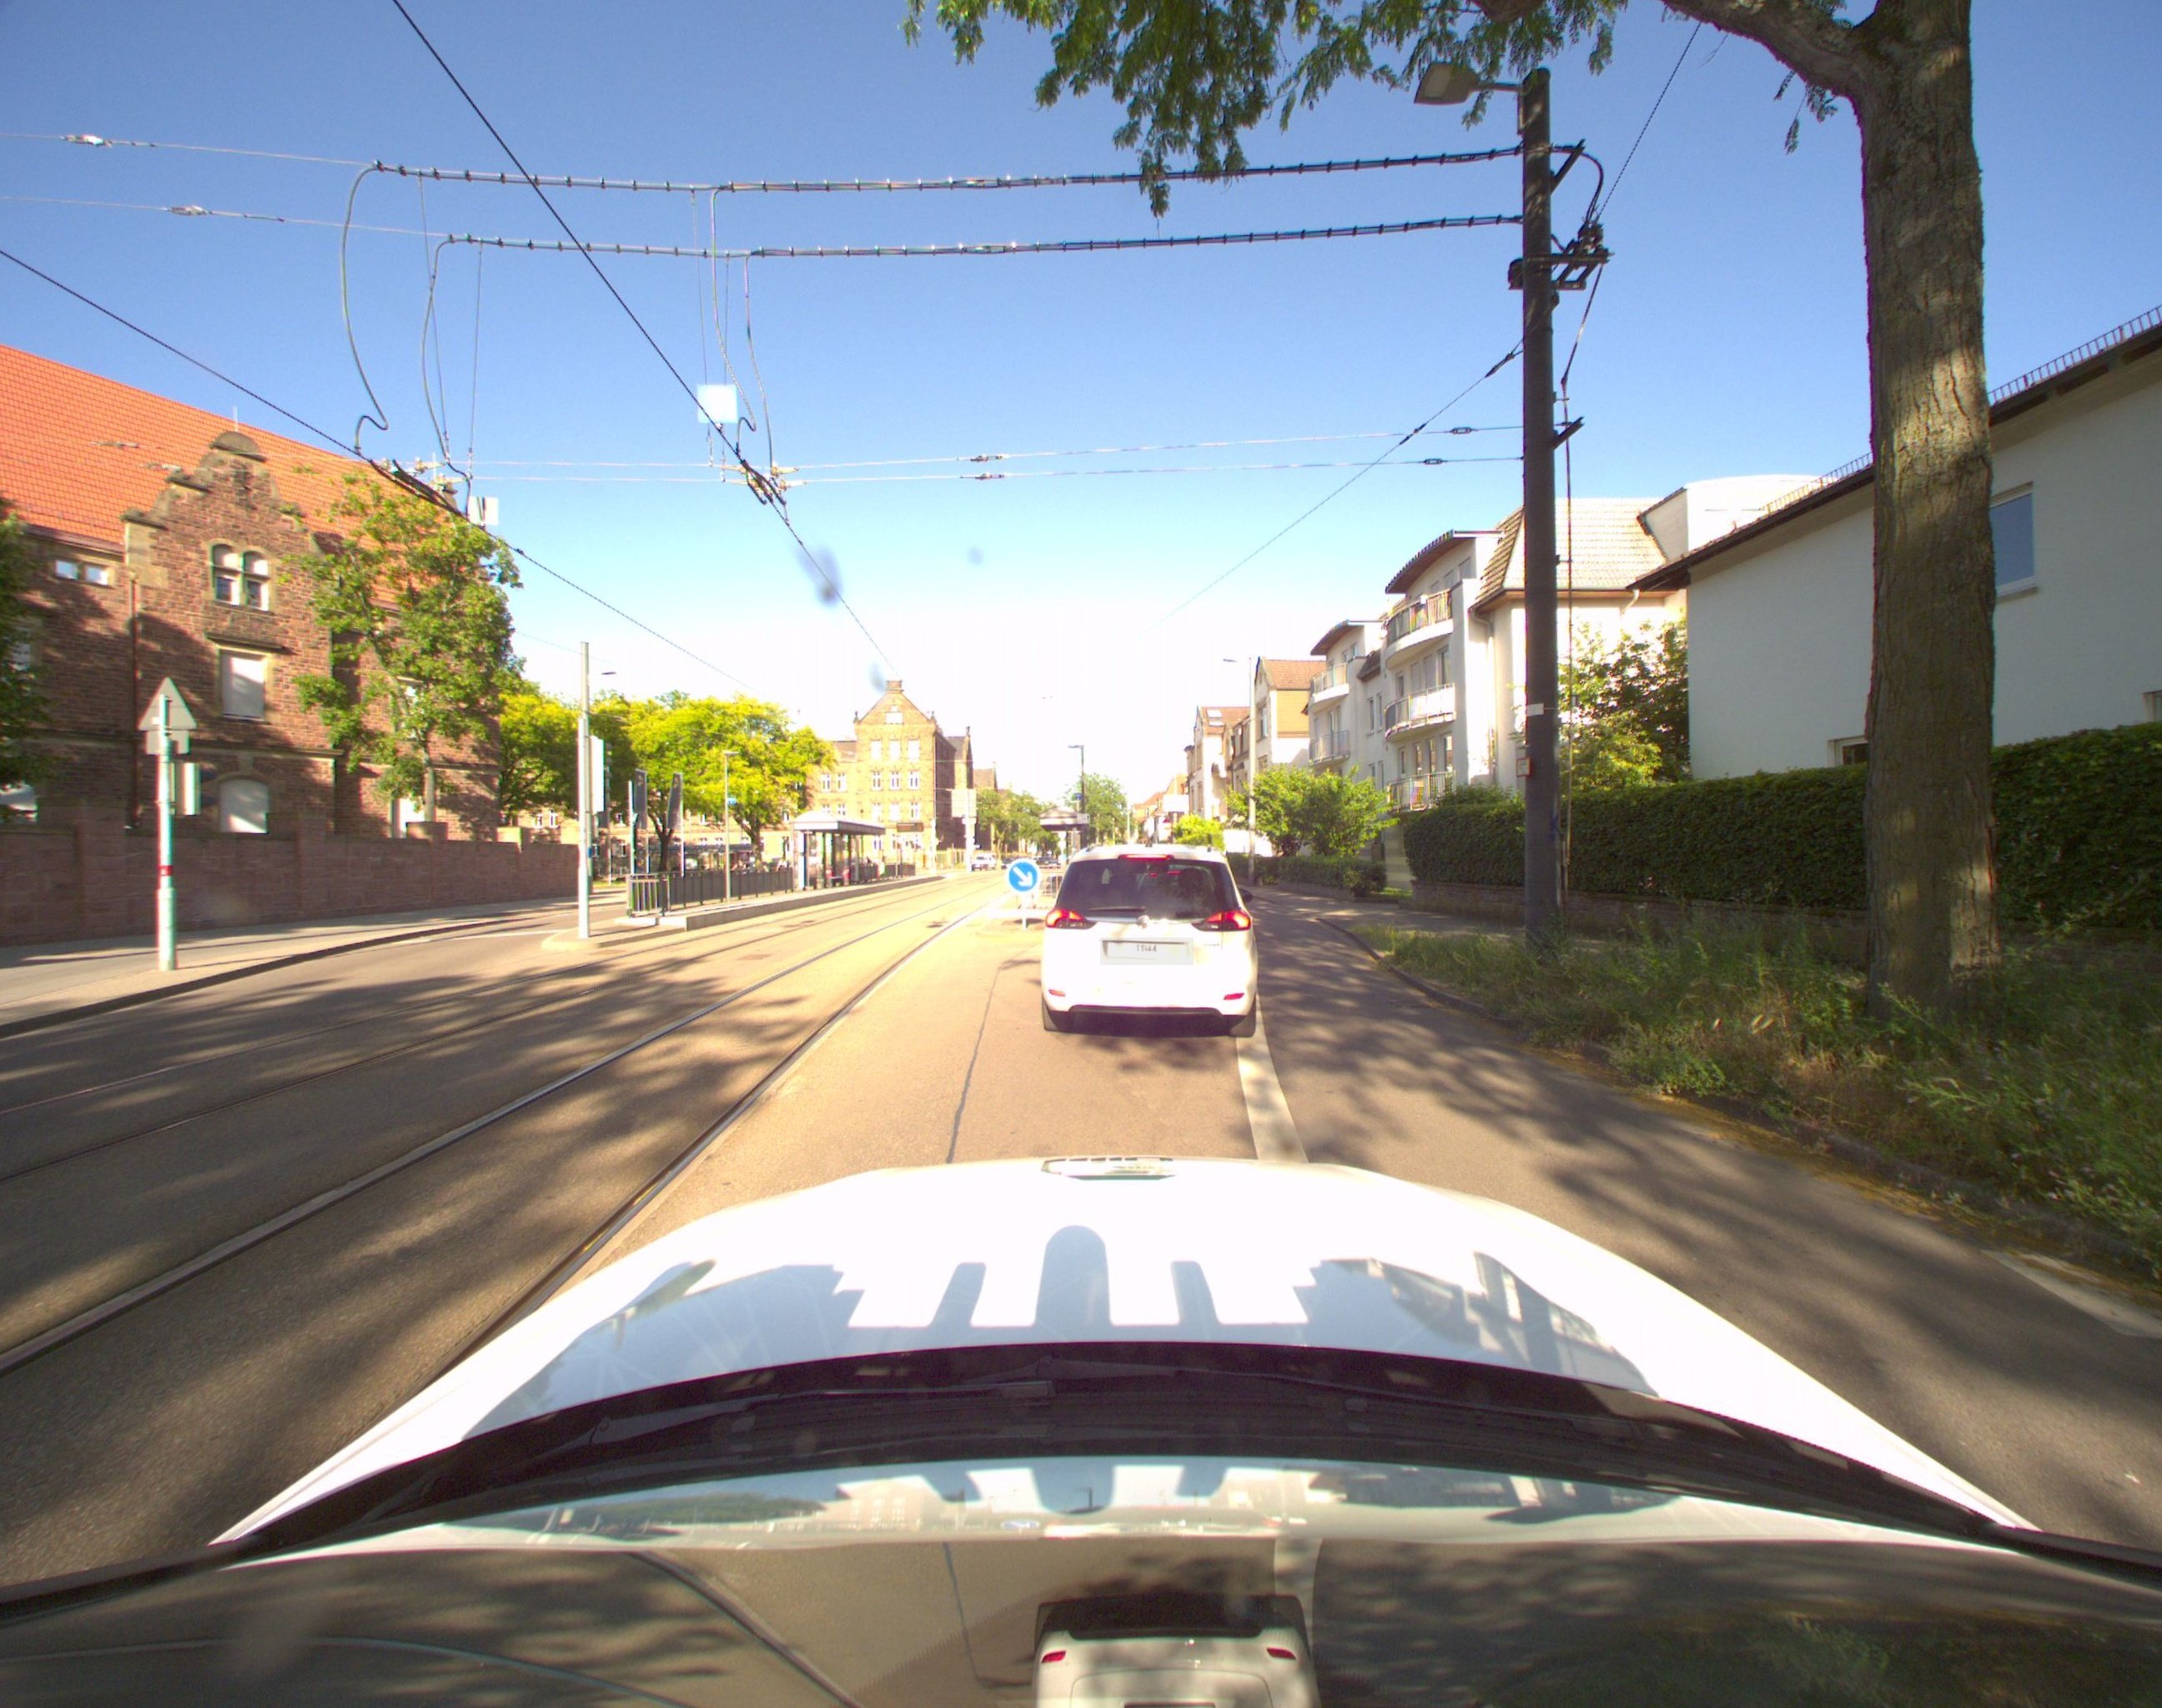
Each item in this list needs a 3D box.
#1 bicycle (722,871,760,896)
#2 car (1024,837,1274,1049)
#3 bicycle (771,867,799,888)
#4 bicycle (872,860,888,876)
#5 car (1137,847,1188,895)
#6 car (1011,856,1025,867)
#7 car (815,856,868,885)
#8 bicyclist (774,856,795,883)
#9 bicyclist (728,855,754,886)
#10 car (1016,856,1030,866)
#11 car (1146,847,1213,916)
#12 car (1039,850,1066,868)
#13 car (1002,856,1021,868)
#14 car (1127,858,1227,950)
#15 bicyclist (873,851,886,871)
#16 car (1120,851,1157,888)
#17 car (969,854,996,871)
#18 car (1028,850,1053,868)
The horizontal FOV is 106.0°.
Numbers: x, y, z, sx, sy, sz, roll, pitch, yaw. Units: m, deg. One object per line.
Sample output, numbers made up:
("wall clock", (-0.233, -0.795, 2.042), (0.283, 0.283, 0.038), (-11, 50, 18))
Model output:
("bicycle", (-16.217, 1.407, 38.898), (0.680, 1.089, 2.068), (-1, 0, 8))
("car", (0.765, 0.676, 8.193), (1.868, 1.585, 4.008), (-1, 0, 7))
("bicycle", (-16.435, 1.316, 45.221), (0.681, 1.089, 1.857), (-5, -3, 4))
("bicycle", (-15.995, 1.104, 64.718), (0.775, 1.231, 2.087), (-1, 0, -2))
("car", (2.934, 0.578, 29.873), (1.590, 1.635, 3.903), (1, 0, 2))
("car", (-8.813, 1.061, 113.748), (1.823, 1.617, 4.322), (-1, -1, -3))
("car", (-14.074, 0.925, 48.070), (1.812, 1.607, 4.357), (-1, 0, -1))
("bicyclist", (-16.430, 0.852, 45.201), (0.650, 1.459, 1.153), (-1, 0, 4))
("bicyclist", (-16.236, 0.785, 38.901), (0.649, 1.459, 1.155), (-1, 0, 9))
("car", (-8.628, 1.125, 121.688), (1.822, 1.446, 4.324), (-1, -1, -2))
("car", (2.560, 0.645, 21.104), (1.560, 1.614, 3.792), (1, 0, 7))
("car", (-3.201, 0.560, 91.860), (1.999, 2.013, 3.976), (-1, 0, -18))
("car", (-8.584, 0.965, 101.205), (1.791, 1.382, 4.498), (-1, 0, 3))
("car", (1.772, 0.805, 14.866), (1.560, 1.401, 3.792), (1, 0, 7))
("bicyclist", (-15.994, 0.558, 64.655), (0.758, 1.536, 1.347), (-1, 0, -2))
("car", (2.718, 0.719, 39.098), (1.590, 1.635, 3.903), (1, 0, 2))
("car", (-10.574, 0.903, 88.052), (1.816, 1.788, 4.265), (-1, 0, 8))
("car", (-4.878, 0.620, 97.520), (1.999, 2.013, 3.976), (-1, 0, -18))
